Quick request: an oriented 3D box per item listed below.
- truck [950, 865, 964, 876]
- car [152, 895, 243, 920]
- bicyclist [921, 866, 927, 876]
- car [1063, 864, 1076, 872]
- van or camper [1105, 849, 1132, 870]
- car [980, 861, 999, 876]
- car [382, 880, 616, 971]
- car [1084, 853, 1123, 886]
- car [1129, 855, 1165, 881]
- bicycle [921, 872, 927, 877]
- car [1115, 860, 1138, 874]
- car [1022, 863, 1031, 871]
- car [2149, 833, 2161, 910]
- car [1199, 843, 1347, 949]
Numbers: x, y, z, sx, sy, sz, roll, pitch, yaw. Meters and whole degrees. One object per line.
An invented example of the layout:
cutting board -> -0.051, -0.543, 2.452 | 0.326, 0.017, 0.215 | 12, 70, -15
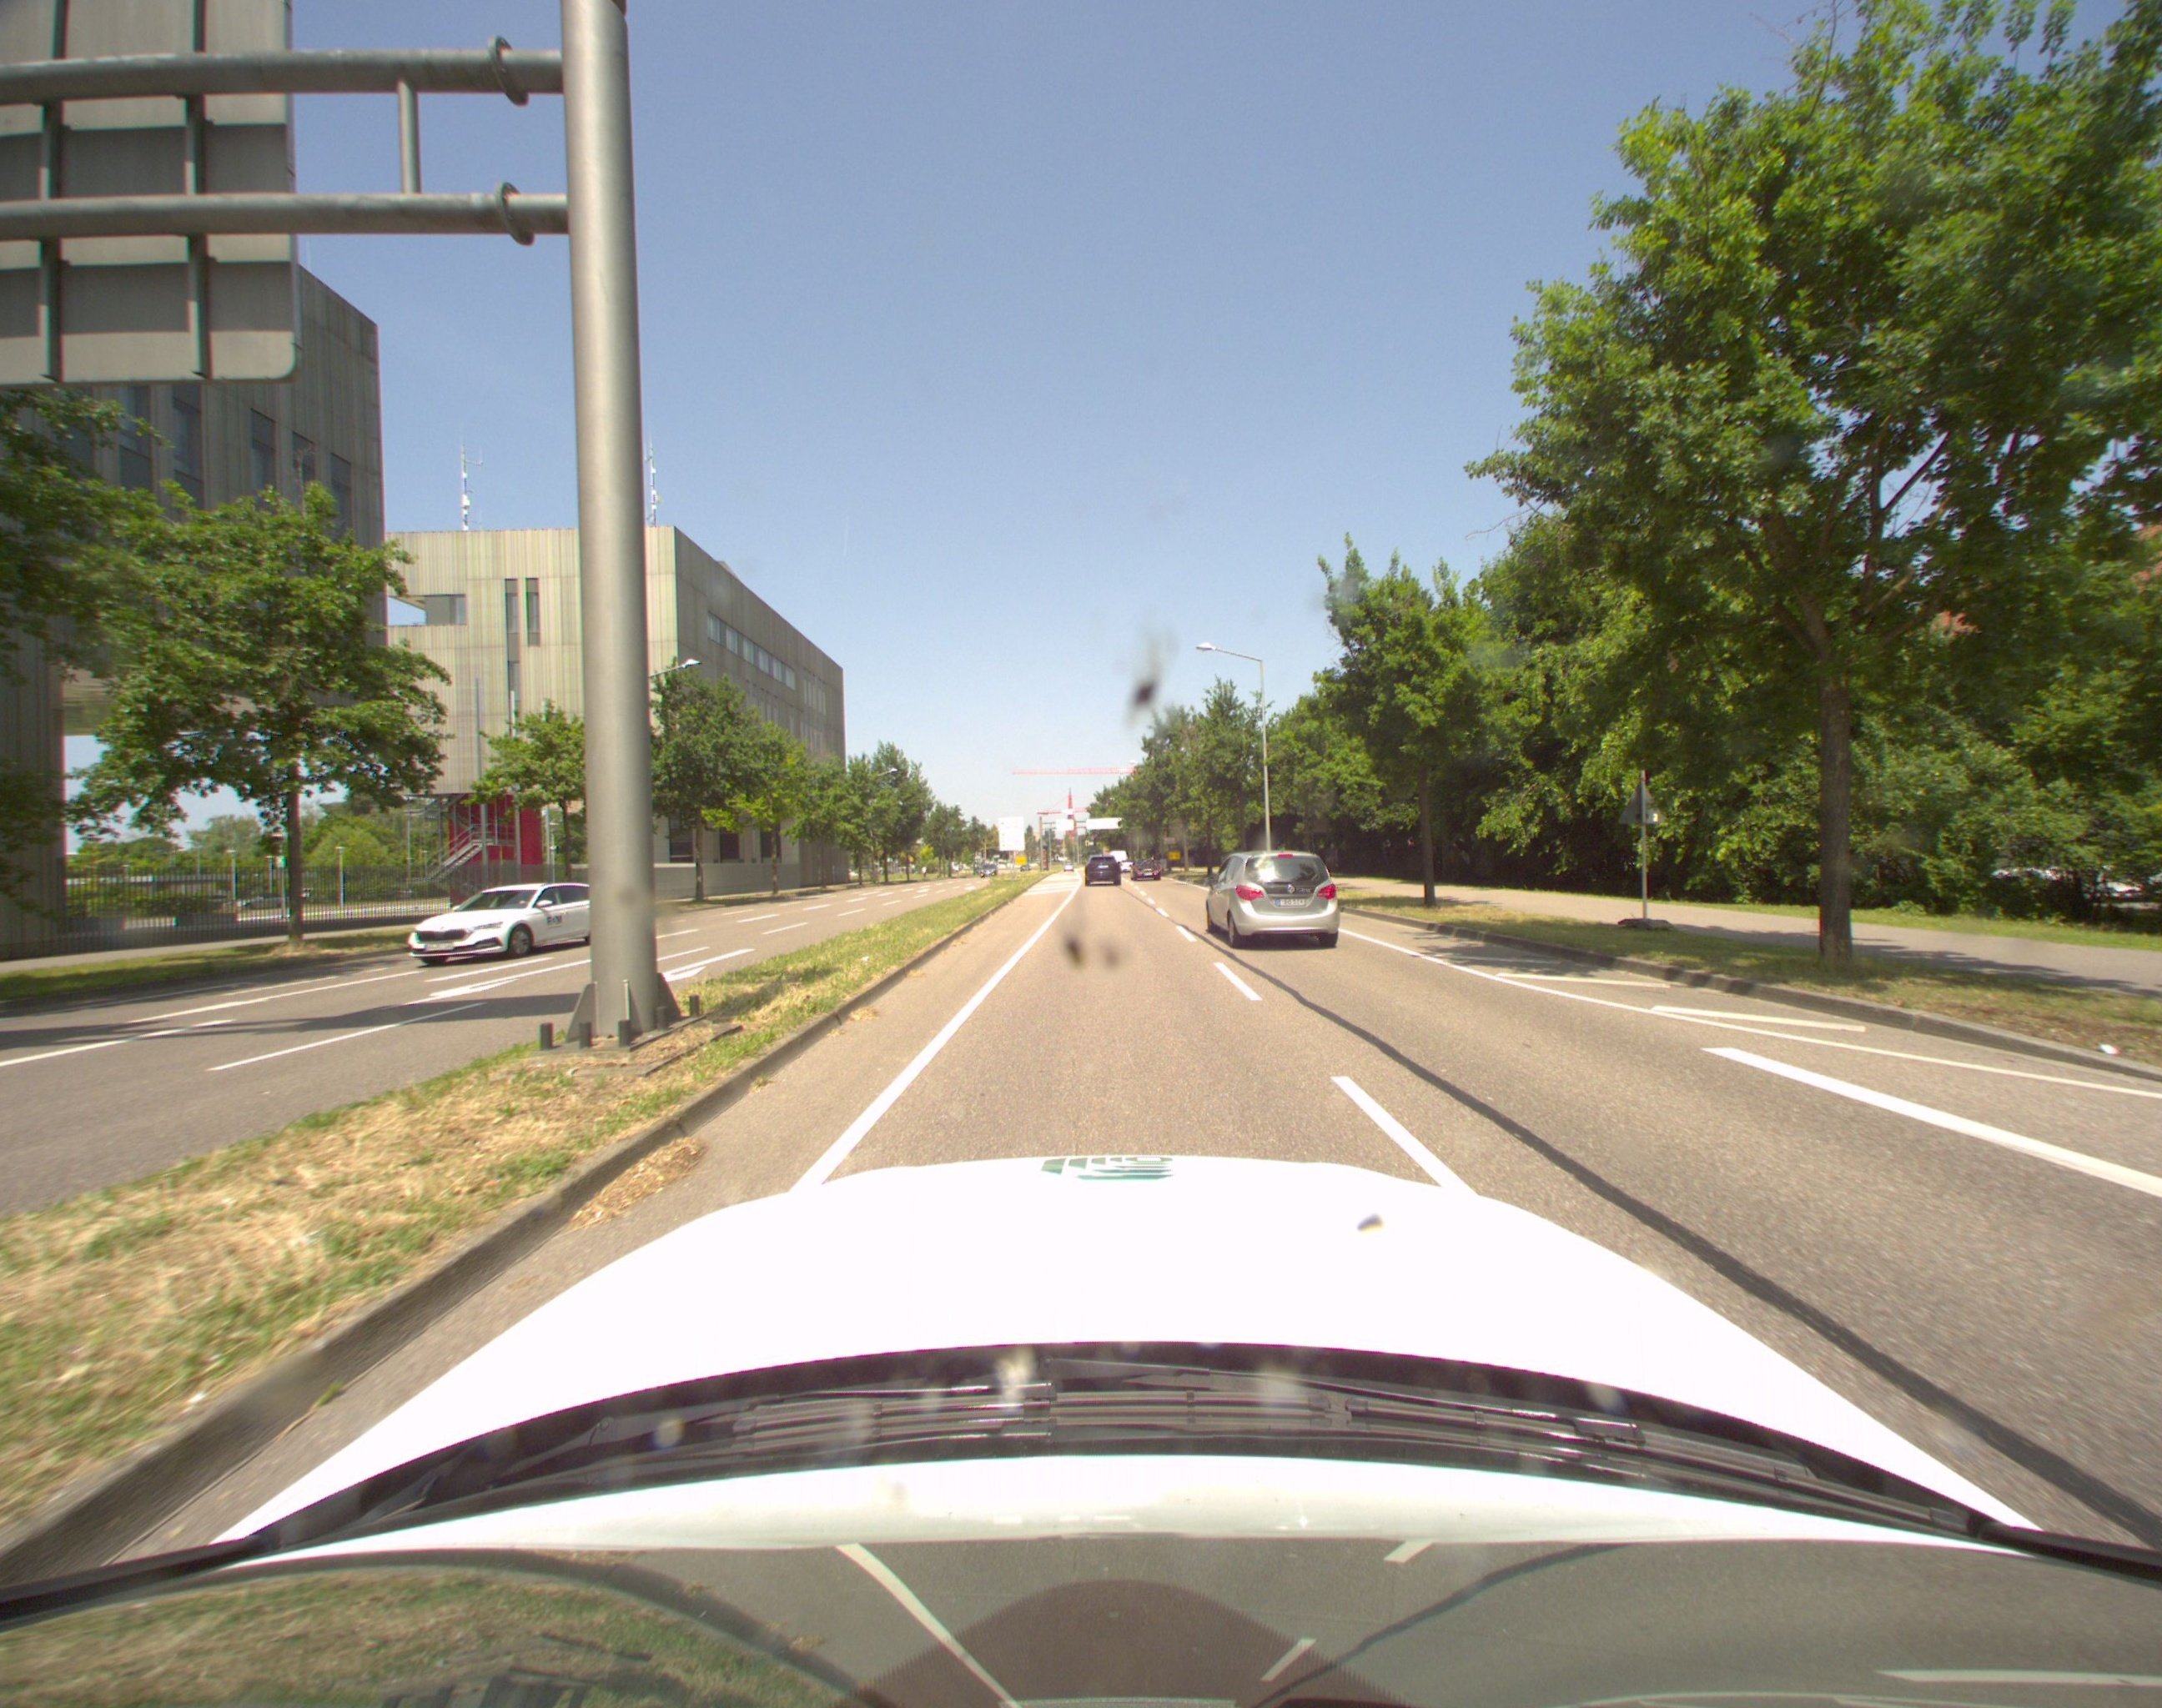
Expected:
truck -> -29.314, 3.844, 193.179 | 2.632, 2.577, 6.311 | -1, -1, -3
car -> -68.396, 4.139, 63.175 | 2.016, 1.582, 4.523 | -2, 0, 1
bicyclist -> -23.211, 2.463, 120.417 | 0.620, 1.489, 0.757 | -2, -1, 2
car -> -2.036, 2.519, 145.474 | 1.990, 1.321, 3.993 | -2, 0, -5
van or camper -> 4.375, 0.679, 95.947 | 2.489, 2.291, 4.913 | -2, -1, -4
car -> -9.865, 1.574, 88.287 | 1.703, 1.472, 3.937 | -3, 0, -3
car -> -11.831, 1.372, 17.009 | 1.806, 1.427, 4.354 | -3, 0, -3
car -> 1.221, 0.824, 44.393 | 1.991, 1.689, 4.034 | -1, 0, 1
car -> 4.189, 0.899, 52.070 | 2.007, 1.517, 4.461 | -2, -1, 1
bicycle -> -23.159, 3.039, 120.374 | 0.479, 0.715, 1.851 | -2, -1, 3
car -> 4.576, 1.345, 82.640 | 1.652, 1.356, 4.452 | -2, -1, -5
car -> -11.742, 2.815, 175.821 | 1.888, 1.610, 4.529 | -2, 0, -3
car -> 24.588, 0.327, 15.997 | 3.948, 1.662, 1.892 | -2, 0, 36
car -> 3.254, 0.662, 14.549 | 1.786, 1.612, 3.892 | -1, 0, 1
